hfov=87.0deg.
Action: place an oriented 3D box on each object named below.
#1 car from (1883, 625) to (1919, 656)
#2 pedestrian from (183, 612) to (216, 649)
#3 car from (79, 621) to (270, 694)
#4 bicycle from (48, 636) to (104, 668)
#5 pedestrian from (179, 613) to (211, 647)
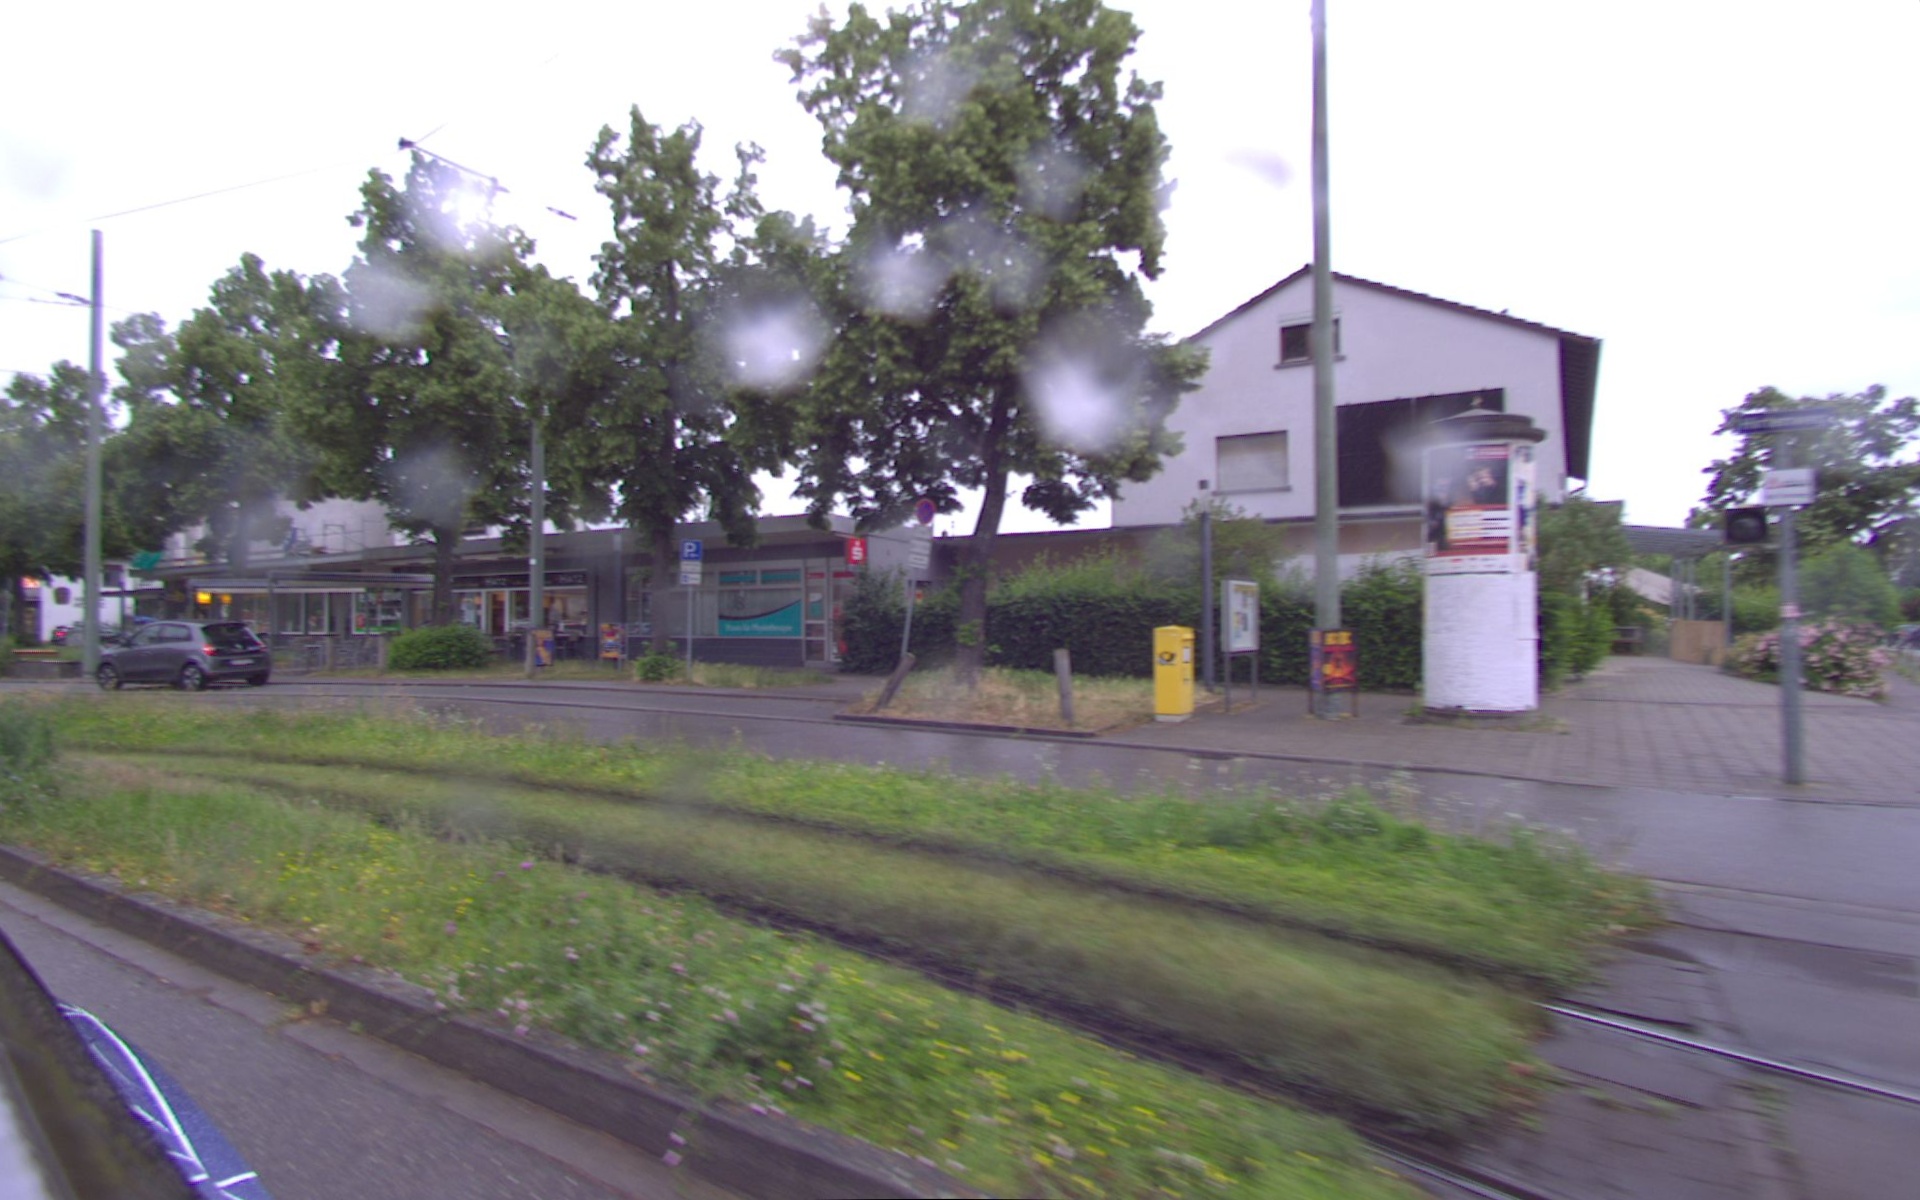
[{"bbox_3d":[60.943,2.558,64.689,1.992,1.807,3.961,-1,0,29],"label":"car"},{"bbox_3d":[-35.625,1.412,47.384,0.948,1.727,1.065,-1,-2,43],"label":"pedestrian"},{"bbox_3d":[-17.551,1.269,22.646,3.589,1.515,1.544,-1,0,15],"label":"car"},{"bbox_3d":[-30.579,1.779,35.002,1.735,1.080,0.591,-1,-2,16],"label":"bicycle"},{"bbox_3d":[-36.492,1.433,48.286,0.948,1.596,1.065,-1,-2,43],"label":"pedestrian"}]
